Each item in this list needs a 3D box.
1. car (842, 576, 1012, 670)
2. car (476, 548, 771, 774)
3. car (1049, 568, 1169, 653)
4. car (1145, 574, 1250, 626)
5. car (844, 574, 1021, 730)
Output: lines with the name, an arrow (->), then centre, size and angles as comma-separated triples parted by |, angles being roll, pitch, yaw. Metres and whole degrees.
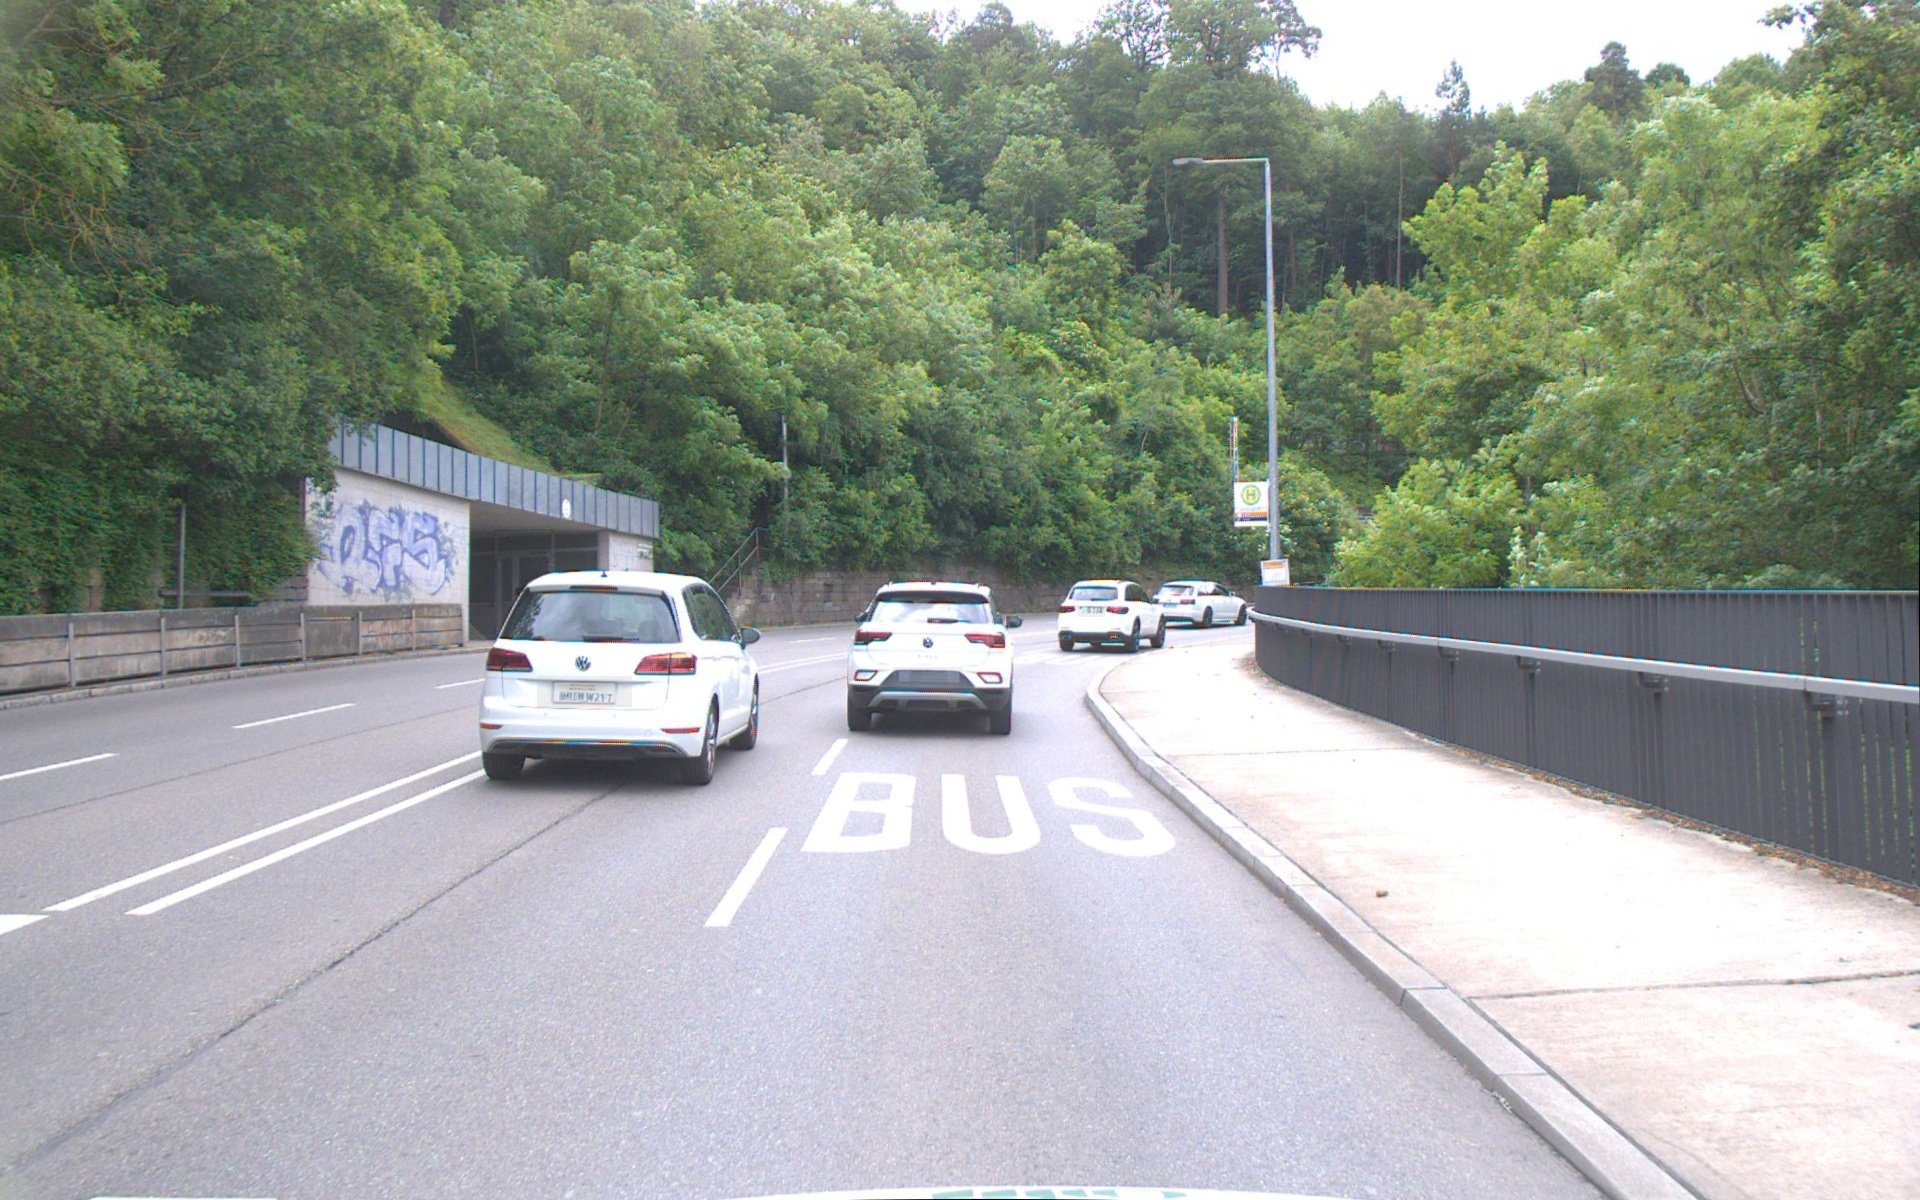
car -> -0.563, 0.393, 33.006 | 1.952, 1.584, 4.684 | 3, 2, 17
car -> -2.618, 0.416, 13.829 | 1.685, 1.581, 4.274 | 1, 0, -2
car -> 3.658, 0.251, 39.904 | 1.952, 1.875, 4.152 | 2, 0, 18
car -> 7.767, 0.010, 53.859 | 1.710, 1.545, 4.296 | 2, 0, 33
car -> -0.230, 0.539, 18.630 | 1.776, 1.566, 4.009 | 0, 0, 1
